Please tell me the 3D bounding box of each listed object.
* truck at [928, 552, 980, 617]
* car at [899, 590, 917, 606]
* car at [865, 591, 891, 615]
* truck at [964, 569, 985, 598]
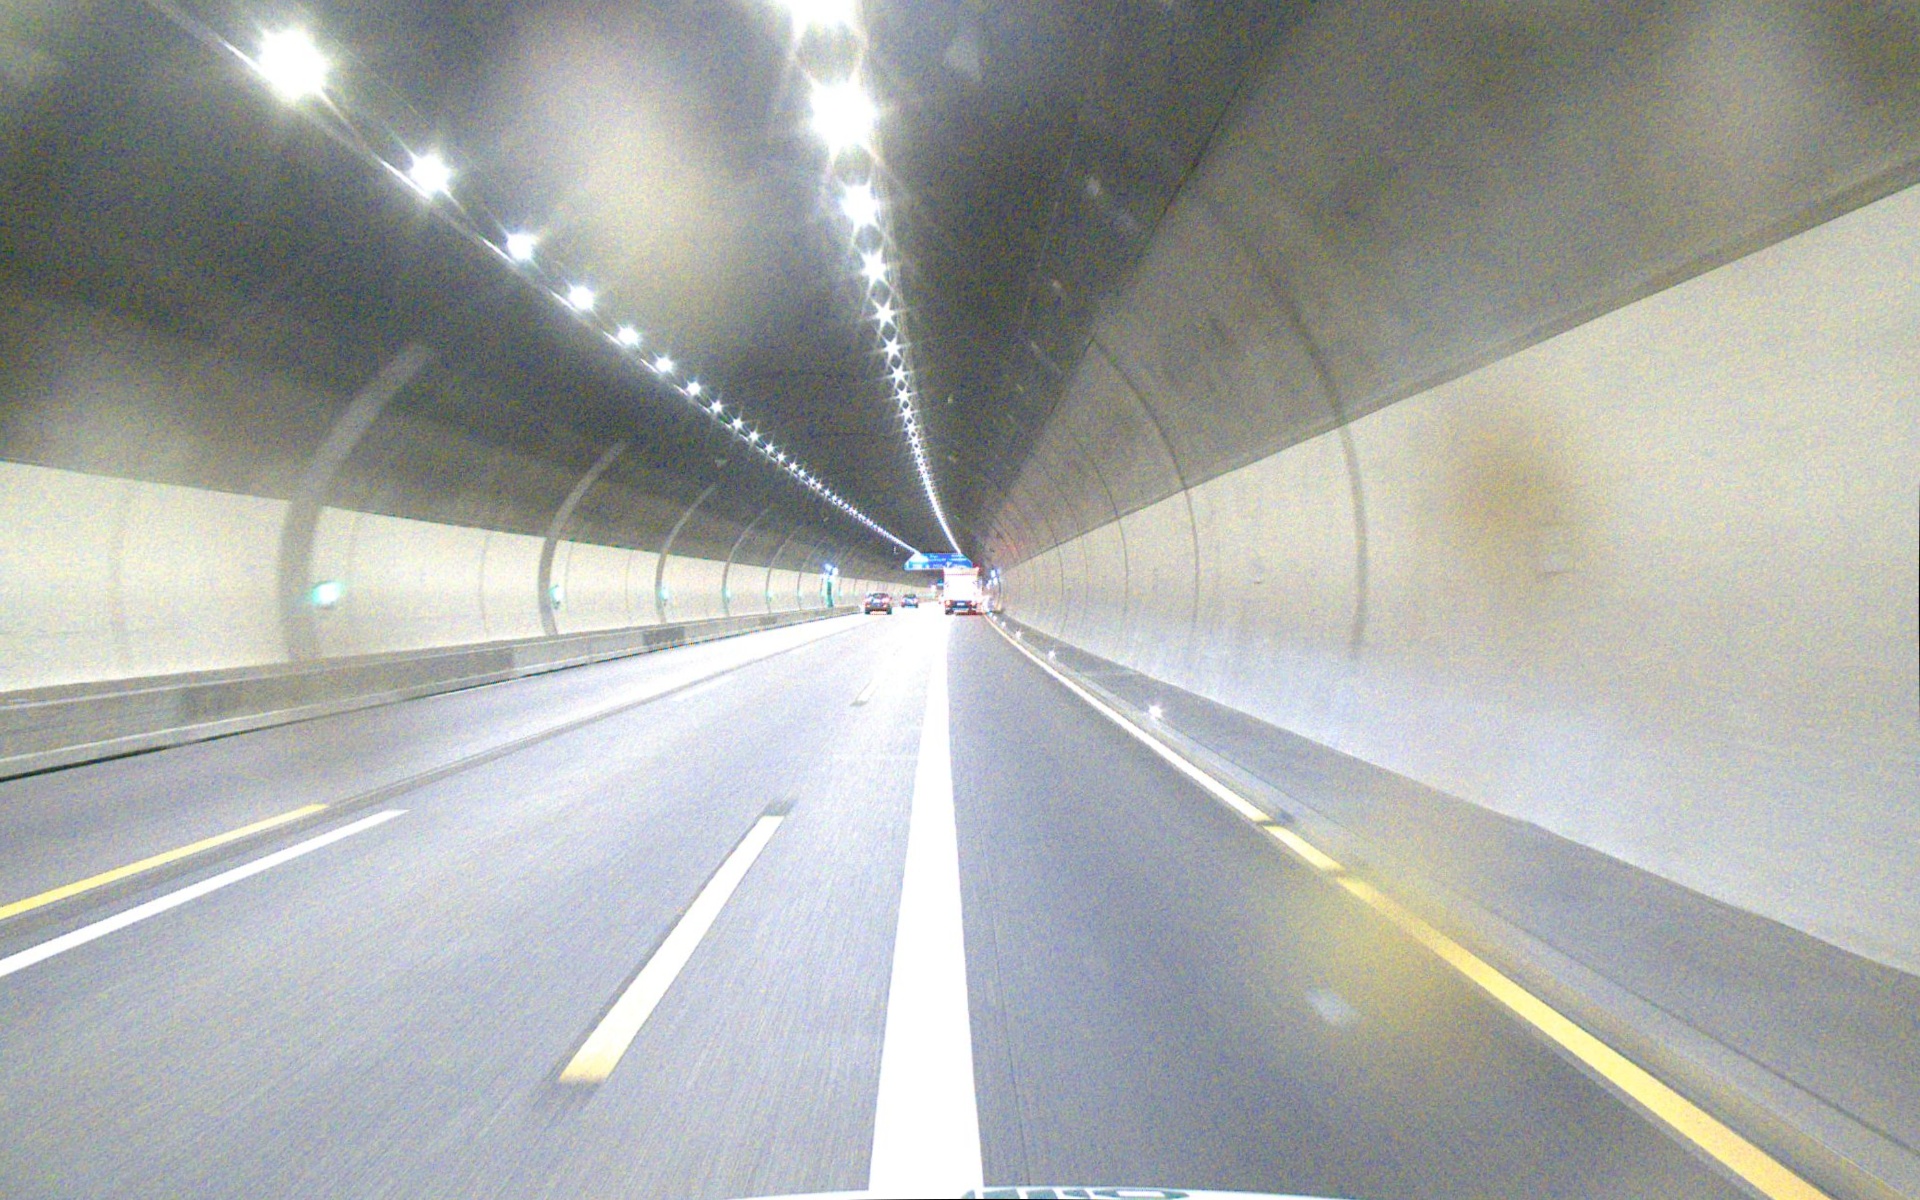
[{"bbox_3d":[-0.614,-1.192,129.795,3.213,4.731,17.277,-1,0,-3],"label":"truck"},{"bbox_3d":[-5.473,-0.194,173.299,1.776,1.546,3.999,0,2,-3],"label":"car"},{"bbox_3d":[-5.887,0.217,118.849,1.776,1.646,3.999,0,1,-2],"label":"car"},{"bbox_3d":[2.123,-2.448,249.190,2.863,4.118,14.027,-1,0,-1],"label":"truck"}]
